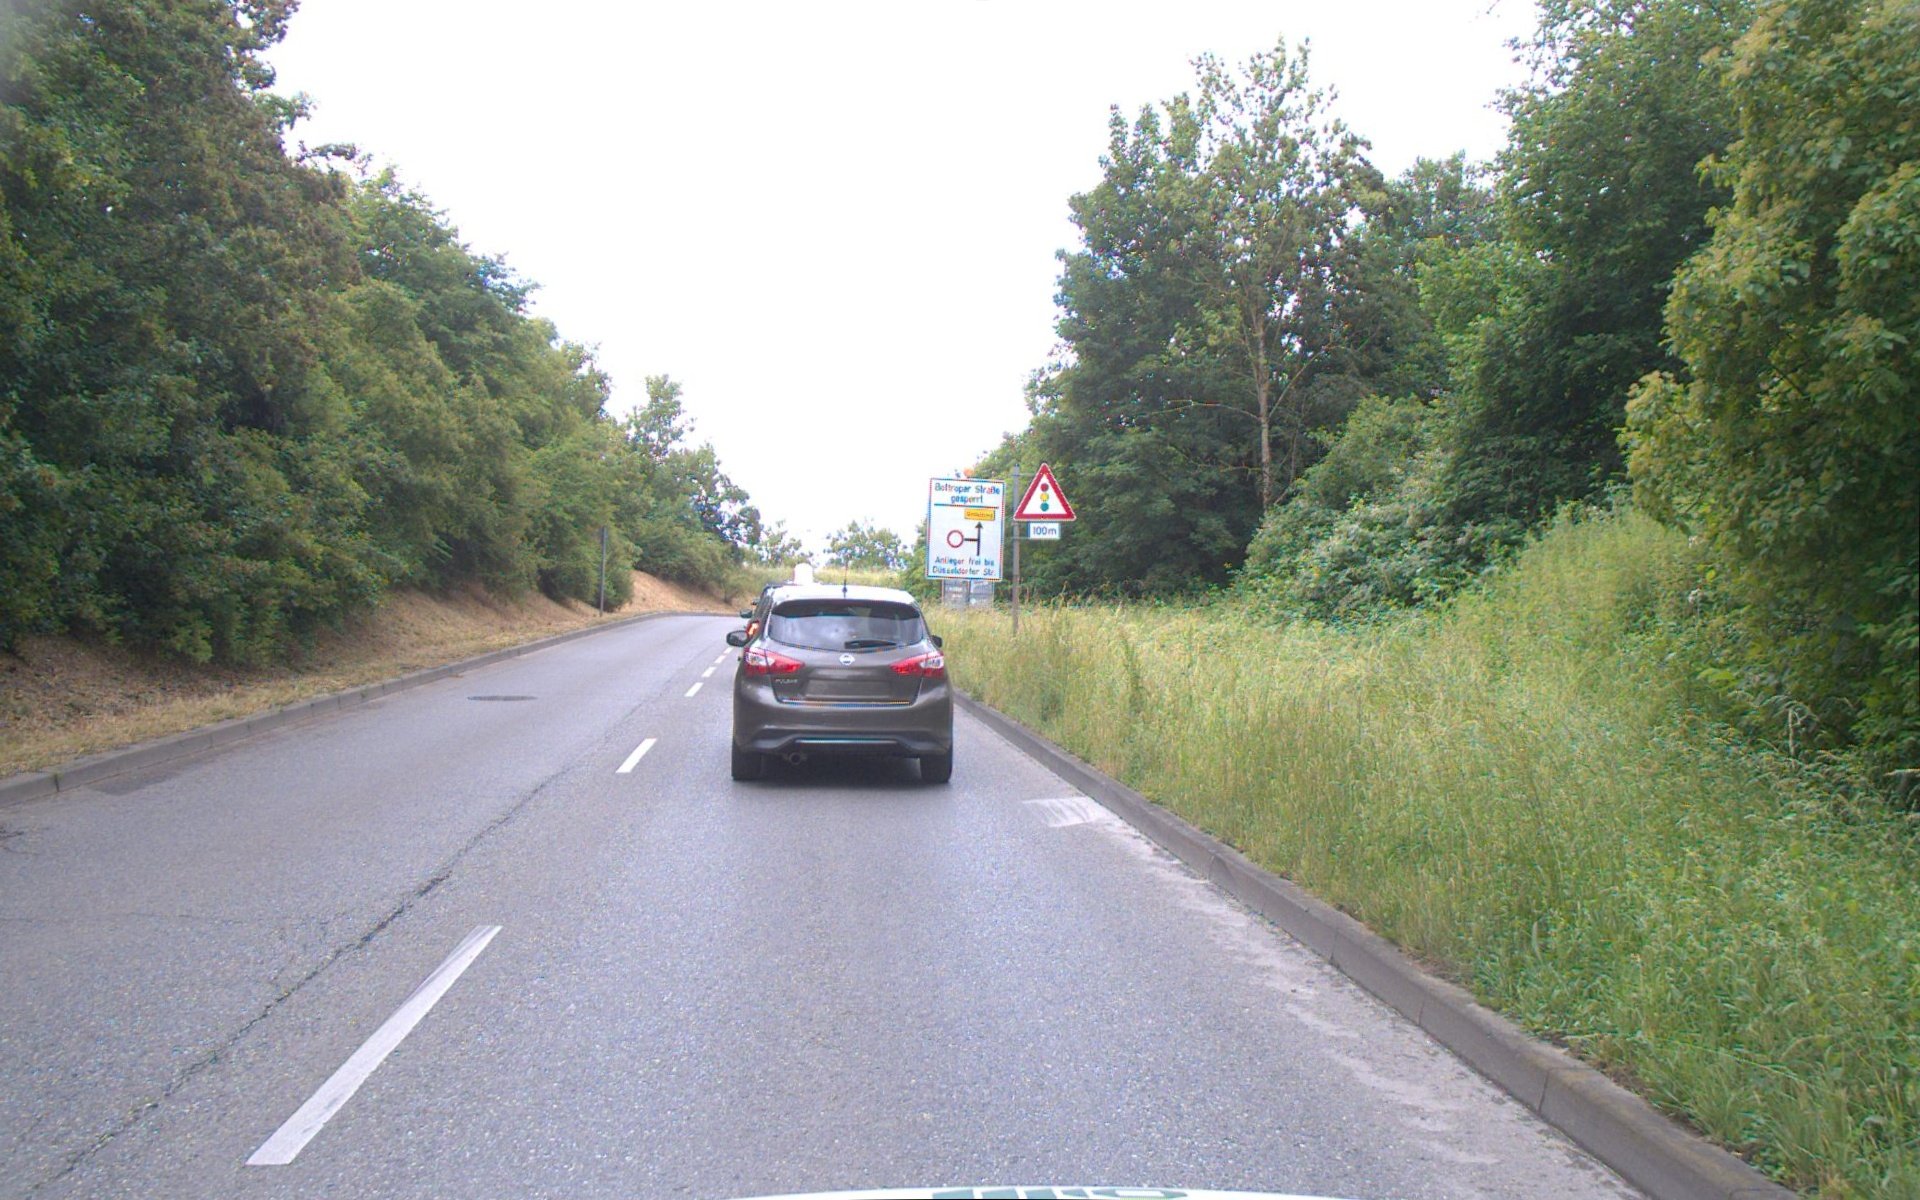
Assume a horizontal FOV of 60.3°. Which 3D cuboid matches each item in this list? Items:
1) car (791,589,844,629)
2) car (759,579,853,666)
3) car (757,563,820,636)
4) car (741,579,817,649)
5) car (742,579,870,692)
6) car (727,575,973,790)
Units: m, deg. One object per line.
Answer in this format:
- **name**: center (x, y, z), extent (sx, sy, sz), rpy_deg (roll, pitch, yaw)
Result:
- **car**: center (-5.637, 0.344, 65.906), extent (1.700, 1.553, 3.642), rpy_deg (0, 0, 1)
- **car**: center (-2.968, 0.396, 32.036), extent (1.702, 1.583, 3.540), rpy_deg (0, 0, -5)
- **car**: center (-4.784, -0.029, 46.456), extent (1.702, 1.968, 3.540), rpy_deg (0, 0, -5)
- **car**: center (-4.255, 0.294, 39.306), extent (1.702, 1.583, 3.540), rpy_deg (0, 0, -5)
- **car**: center (-2.337, 0.487, 25.169), extent (1.794, 1.583, 3.621), rpy_deg (0, 0, -5)
- **car**: center (-0.976, 0.602, 14.004), extent (1.795, 1.583, 3.495), rpy_deg (1, 0, -6)
